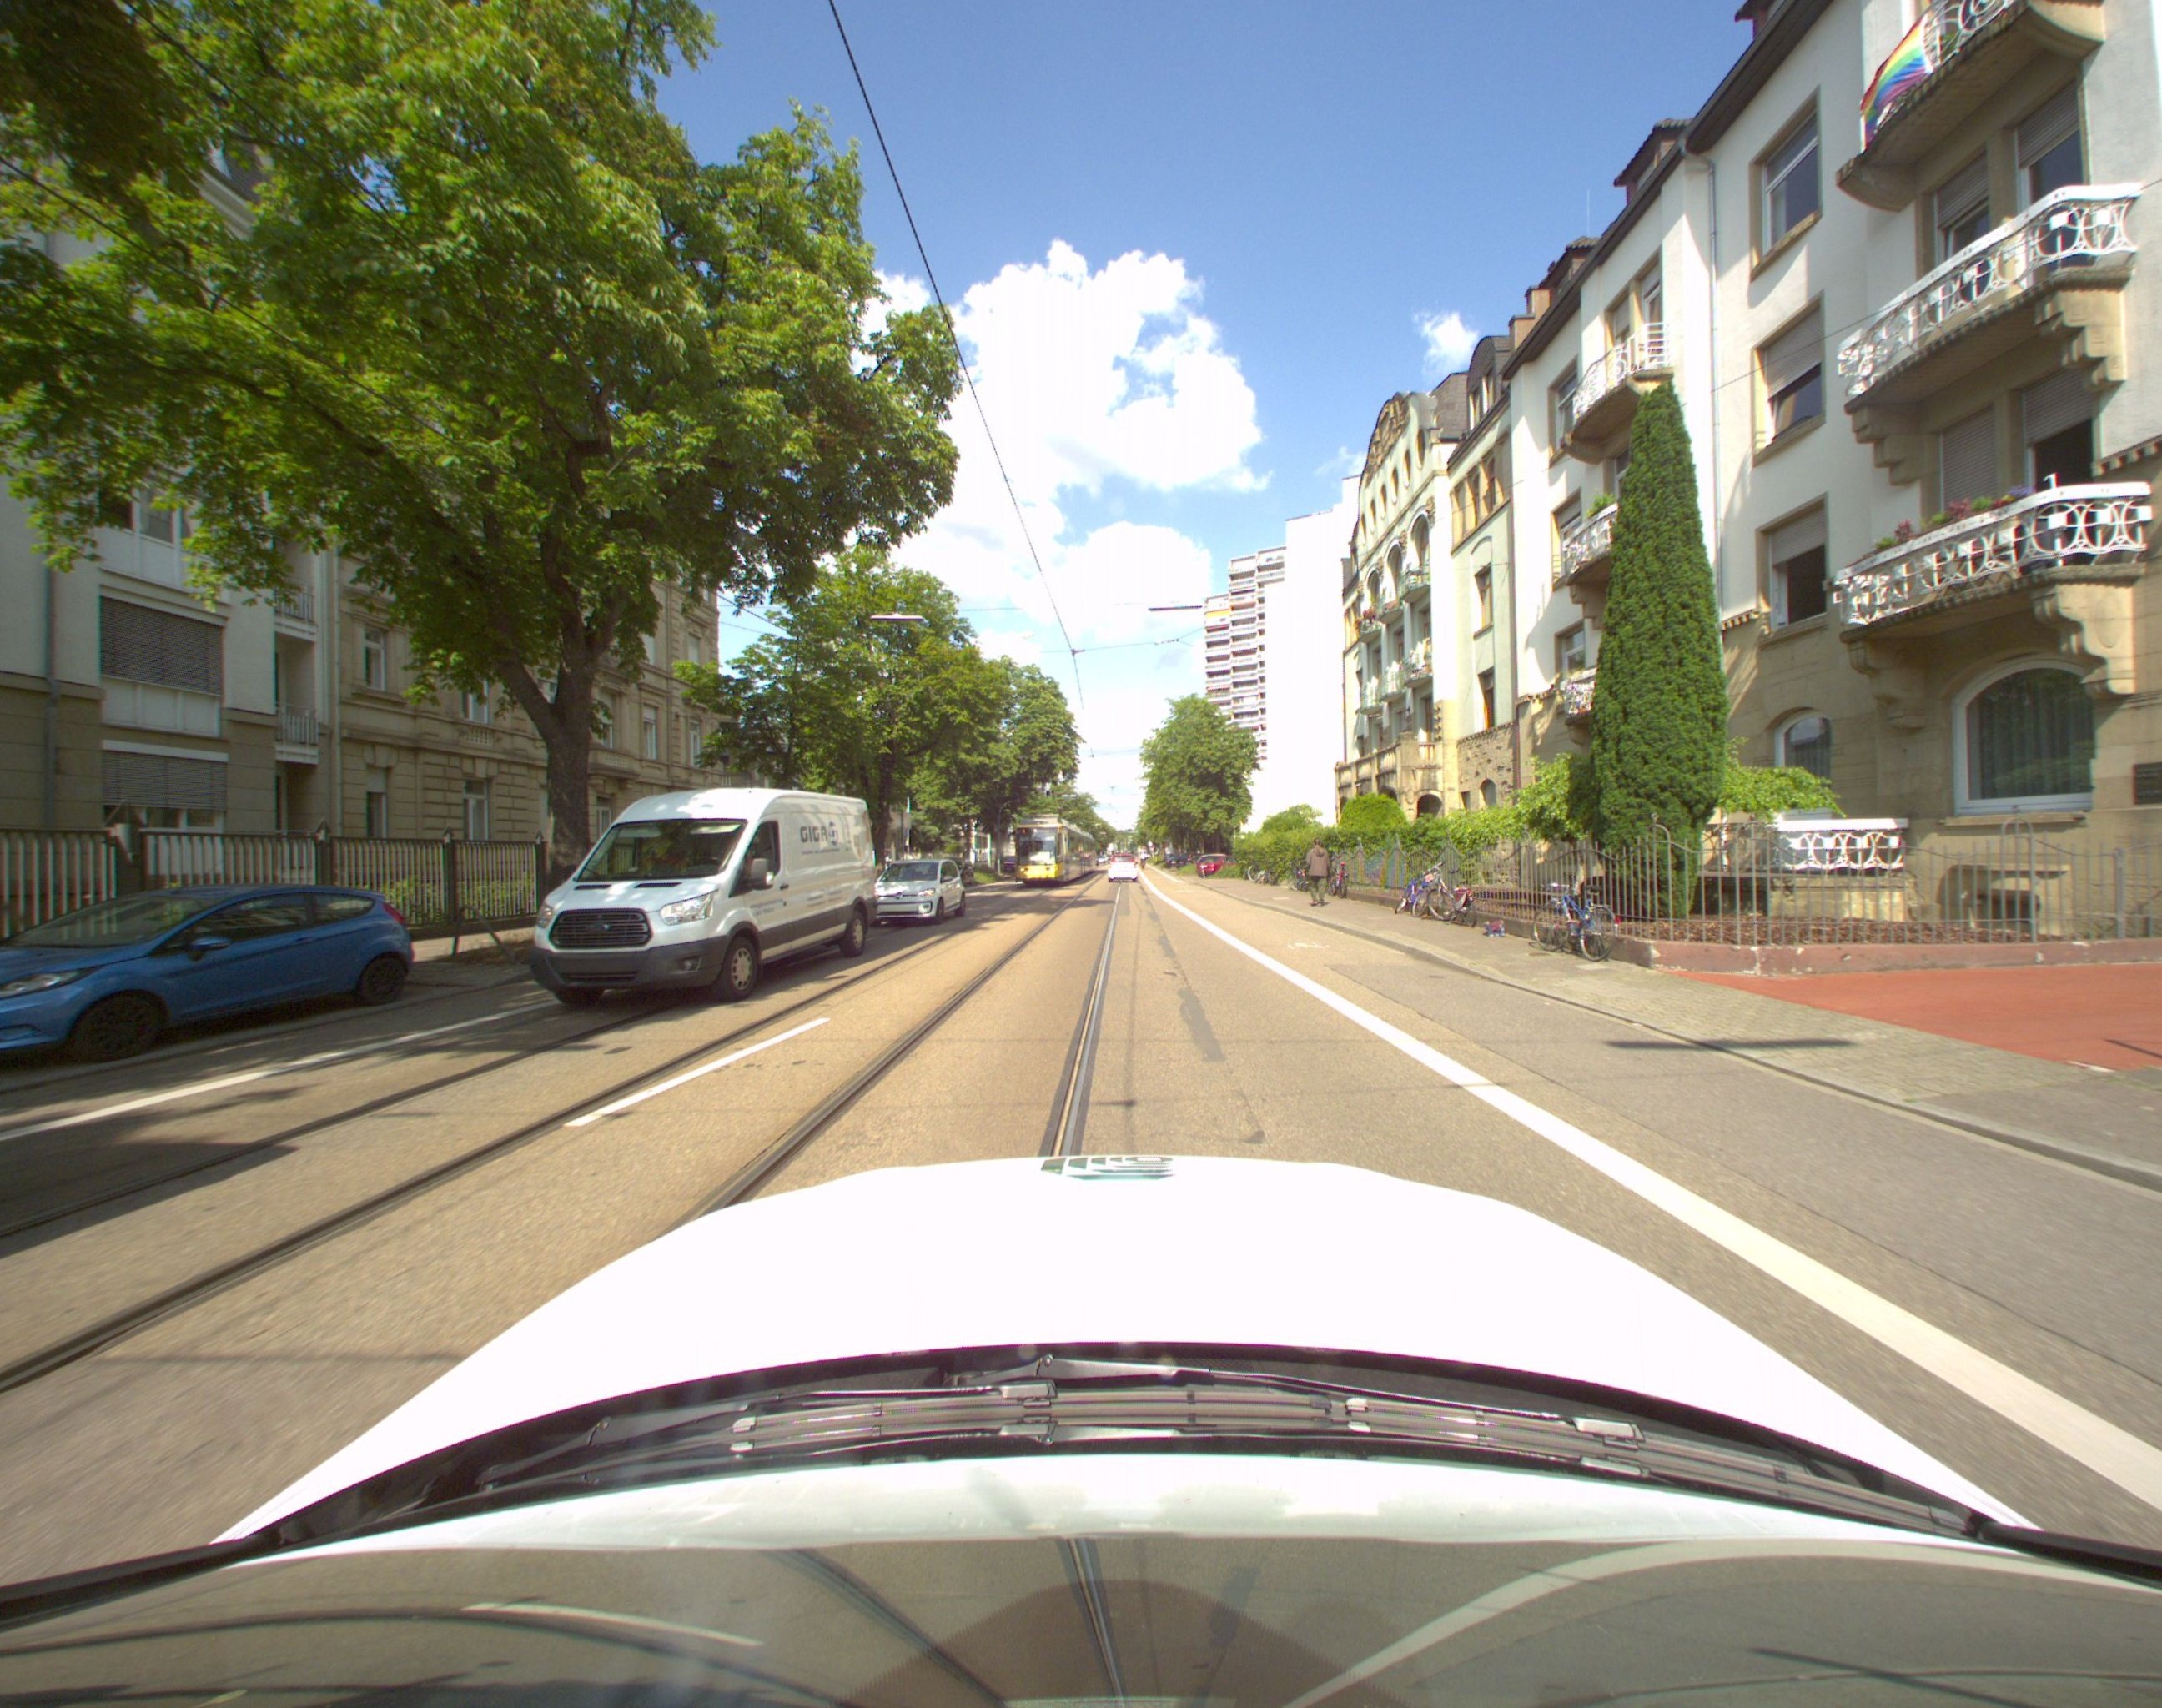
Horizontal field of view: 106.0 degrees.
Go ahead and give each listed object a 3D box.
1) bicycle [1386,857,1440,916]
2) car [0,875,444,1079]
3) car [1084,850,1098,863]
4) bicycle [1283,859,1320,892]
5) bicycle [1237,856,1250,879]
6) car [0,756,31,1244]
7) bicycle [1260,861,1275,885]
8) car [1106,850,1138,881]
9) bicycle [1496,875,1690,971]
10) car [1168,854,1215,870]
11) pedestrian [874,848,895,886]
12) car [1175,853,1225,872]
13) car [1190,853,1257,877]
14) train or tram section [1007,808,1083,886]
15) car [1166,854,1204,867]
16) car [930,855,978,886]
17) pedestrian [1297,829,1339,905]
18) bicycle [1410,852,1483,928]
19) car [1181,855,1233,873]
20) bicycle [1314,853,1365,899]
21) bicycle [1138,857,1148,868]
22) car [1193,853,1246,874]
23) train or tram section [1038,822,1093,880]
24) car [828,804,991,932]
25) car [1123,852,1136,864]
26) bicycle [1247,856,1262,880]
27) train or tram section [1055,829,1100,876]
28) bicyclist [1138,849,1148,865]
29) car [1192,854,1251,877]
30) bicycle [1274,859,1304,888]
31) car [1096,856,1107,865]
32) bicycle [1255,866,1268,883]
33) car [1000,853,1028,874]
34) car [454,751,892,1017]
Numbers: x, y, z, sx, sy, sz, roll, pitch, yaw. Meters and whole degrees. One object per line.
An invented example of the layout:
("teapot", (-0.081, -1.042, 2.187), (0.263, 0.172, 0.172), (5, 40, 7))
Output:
("bicycle", (6.912, 0.655, 17.039), (0.449, 1.122, 1.846), (-3, 0, 4))
("car", (-9.097, 1.021, 8.488), (1.543, 1.519, 4.088), (1, 0, 2))
("car", (1.363, 0.383, 112.212), (1.818, 1.727, 4.393), (1, 0, 2))
("bicycle", (7.286, 0.688, 27.002), (0.608, 0.996, 2.364), (-4, -1, 3))
("bicycle", (8.319, 0.682, 41.727), (0.278, 1.109, 2.012), (-4, -1, 3))
("car", (-5.605, 0.637, 0.853), (1.976, 1.963, 5.188), (-3, 0, 6))
("bicycle", (7.879, 0.786, 34.428), (0.272, 0.907, 1.670), (-4, 1, 3))
("car", (2.309, 0.640, 45.350), (1.658, 1.625, 3.624), (1, 0, 4))
("bicycle", (6.617, 0.823, 10.816), (0.597, 0.961, 3.066), (-5, 0, 0))
("car", (10.557, 0.740, 77.611), (4.561, 1.442, 2.007), (2, -1, -43))
("pedestrian", (-10.547, 0.676, 43.719), (0.821, 2.014, 0.826), (1, -1, 2))
("car", (9.941, 0.701, 67.676), (4.019, 1.575, 1.883), (1, 0, -39))
("car", (9.025, 0.673, 51.472), (4.181, 1.423, 1.845), (-1, 0, -40))
("train or tram section", (-1.627, -0.270, 43.376), (2.641, 3.436, 12.325), (-3, -1, 3))
("car", (12.032, 0.736, 94.130), (4.261, 1.420, 1.705), (0, 1, -35))
("car", (-7.054, 0.908, 45.765), (1.799, 1.641, 4.334), (1, 0, 2))
("pedestrian", (6.019, 0.329, 20.666), (0.786, 1.861, 0.579), (-3, 0, -4))
("bicycle", (6.650, 0.615, 14.895), (0.449, 1.261, 1.844), (-3, 0, 0))
("car", (10.023, 0.804, 64.729), (4.198, 1.349, 1.882), (1, 0, -42))
("bicycle", (7.433, 0.605, 23.521), (0.737, 1.231, 2.518), (-1, -1, 2))
("bicycle", (6.249, 0.857, 82.073), (0.869, 1.126, 2.141), (1, -1, 9))
("car", (9.892, 0.654, 58.009), (4.022, 1.461, 1.517), (0, 0, -43))
("train or tram section", (-0.848, -0.135, 55.167), (2.641, 3.389, 11.483), (-3, -1, 3))
("car", (-3.773, 0.285, 19.428), (2.307, 2.507, 6.366), (-1, 0, 2))
("car", (6.363, 0.509, 106.459), (1.658, 1.624, 3.623), (-1, 0, 3))
("bicycle", (8.134, 0.654, 38.211), (0.278, 1.109, 2.012), (-4, -1, 3))
("train or tram section", (-0.097, -0.066, 67.852), (2.641, 3.356, 14.120), (-3, -1, 3))
("bicyclist", (6.243, 0.290, 82.128), (0.884, 1.529, 1.088), (1, -1, 9))
("car", (9.427, 0.755, 54.633), (4.020, 1.448, 1.679), (0, 0, -40))
("bicycle", (7.492, 0.681, 29.397), (0.610, 0.989, 1.873), (-3, -1, 3))
("car", (3.638, 1.208, 145.015), (1.766, 1.416, 3.854), (-4, -1, 2))
("bicycle", (8.041, 0.910, 36.298), (0.278, 0.677, 1.560), (-4, -1, 3))
("car", (-5.622, 0.817, 68.977), (1.743, 1.665, 4.723), (1, 0, 2))
("car", (-4.650, 0.256, 10.970), (2.306, 2.507, 6.370), (-1, 1, 4))
